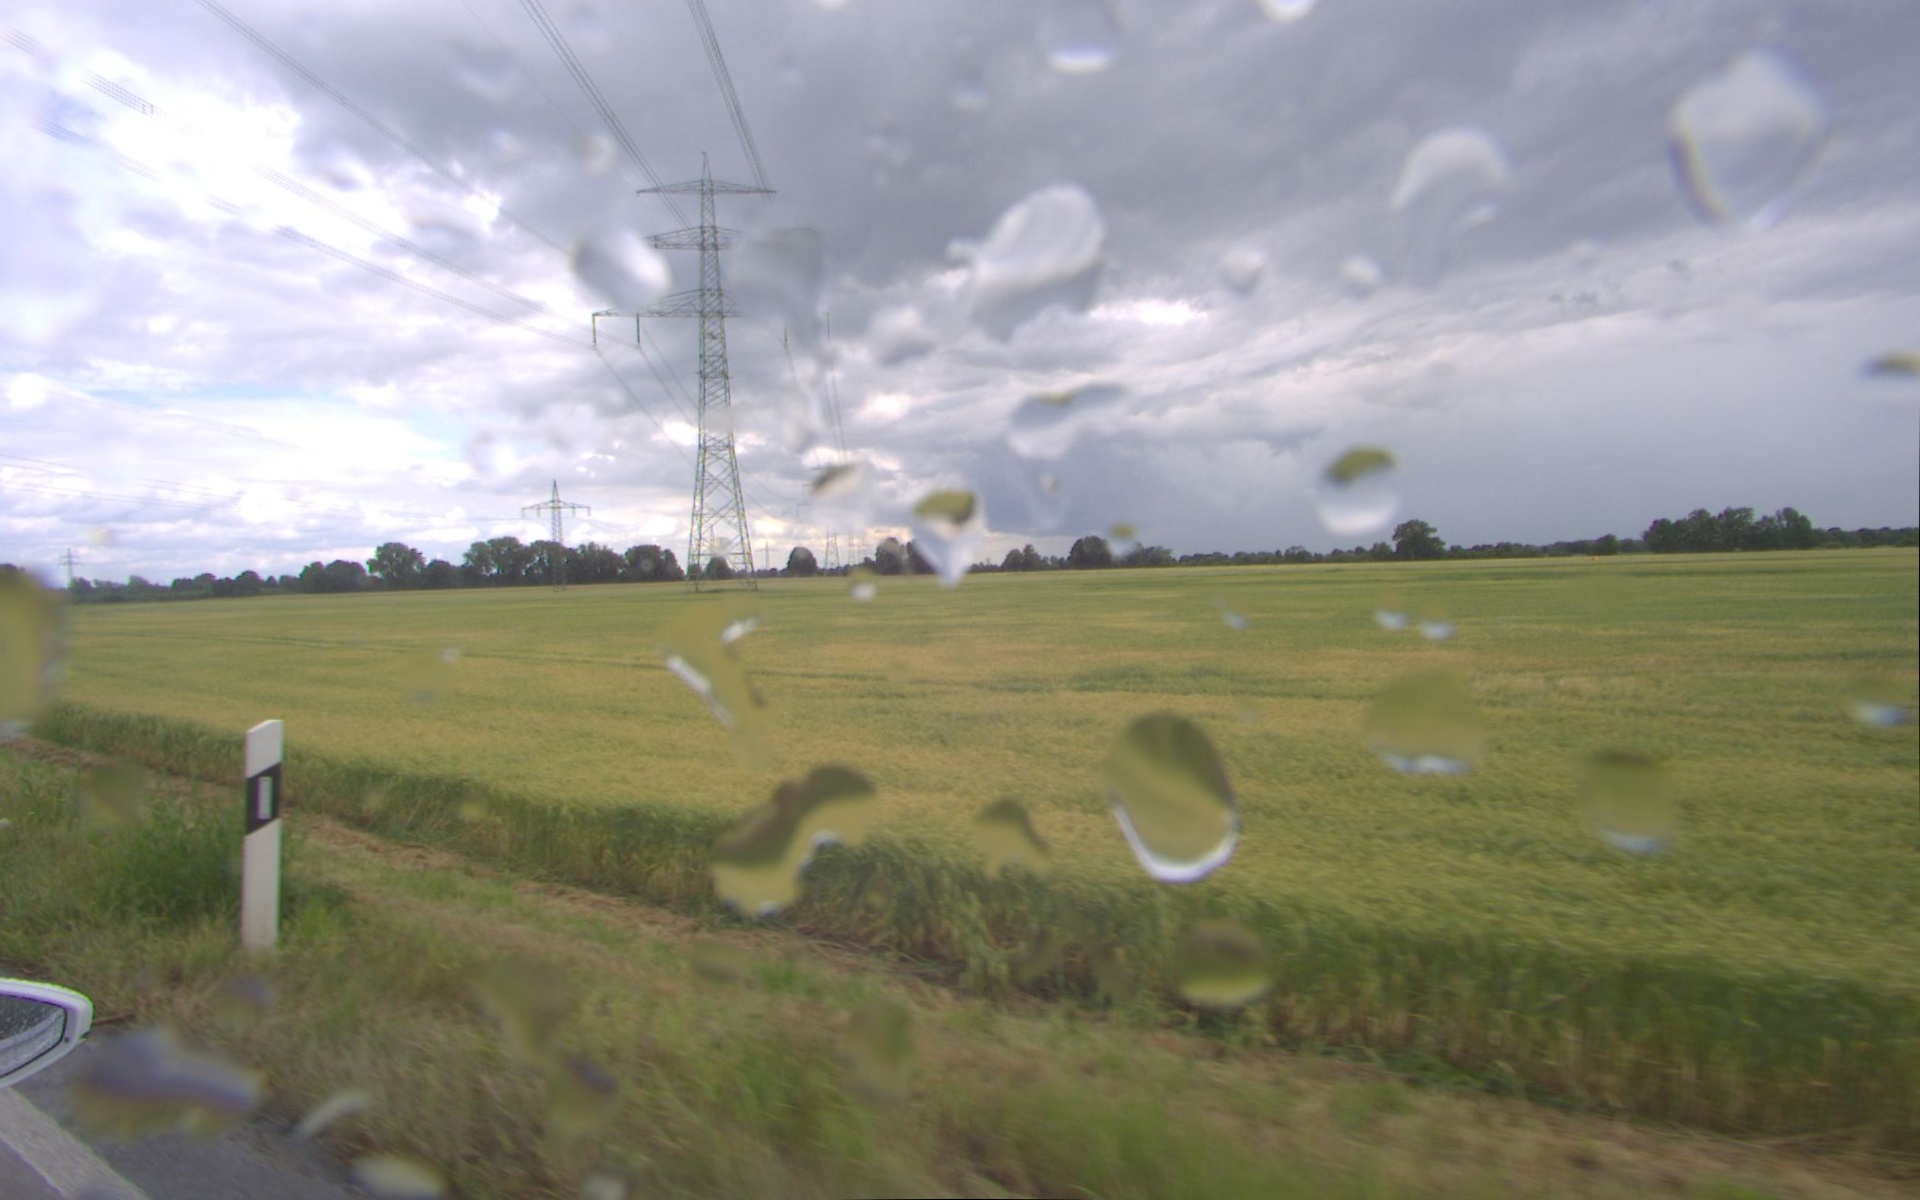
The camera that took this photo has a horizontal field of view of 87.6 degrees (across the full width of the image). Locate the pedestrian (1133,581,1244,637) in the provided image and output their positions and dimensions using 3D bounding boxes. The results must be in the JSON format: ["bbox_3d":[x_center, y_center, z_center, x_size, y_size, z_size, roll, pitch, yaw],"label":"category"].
[{"bbox_3d":[9.081,0.390,39.801,3.935,2.039,1.994,-2,-2,25],"label":"pedestrian"}]
